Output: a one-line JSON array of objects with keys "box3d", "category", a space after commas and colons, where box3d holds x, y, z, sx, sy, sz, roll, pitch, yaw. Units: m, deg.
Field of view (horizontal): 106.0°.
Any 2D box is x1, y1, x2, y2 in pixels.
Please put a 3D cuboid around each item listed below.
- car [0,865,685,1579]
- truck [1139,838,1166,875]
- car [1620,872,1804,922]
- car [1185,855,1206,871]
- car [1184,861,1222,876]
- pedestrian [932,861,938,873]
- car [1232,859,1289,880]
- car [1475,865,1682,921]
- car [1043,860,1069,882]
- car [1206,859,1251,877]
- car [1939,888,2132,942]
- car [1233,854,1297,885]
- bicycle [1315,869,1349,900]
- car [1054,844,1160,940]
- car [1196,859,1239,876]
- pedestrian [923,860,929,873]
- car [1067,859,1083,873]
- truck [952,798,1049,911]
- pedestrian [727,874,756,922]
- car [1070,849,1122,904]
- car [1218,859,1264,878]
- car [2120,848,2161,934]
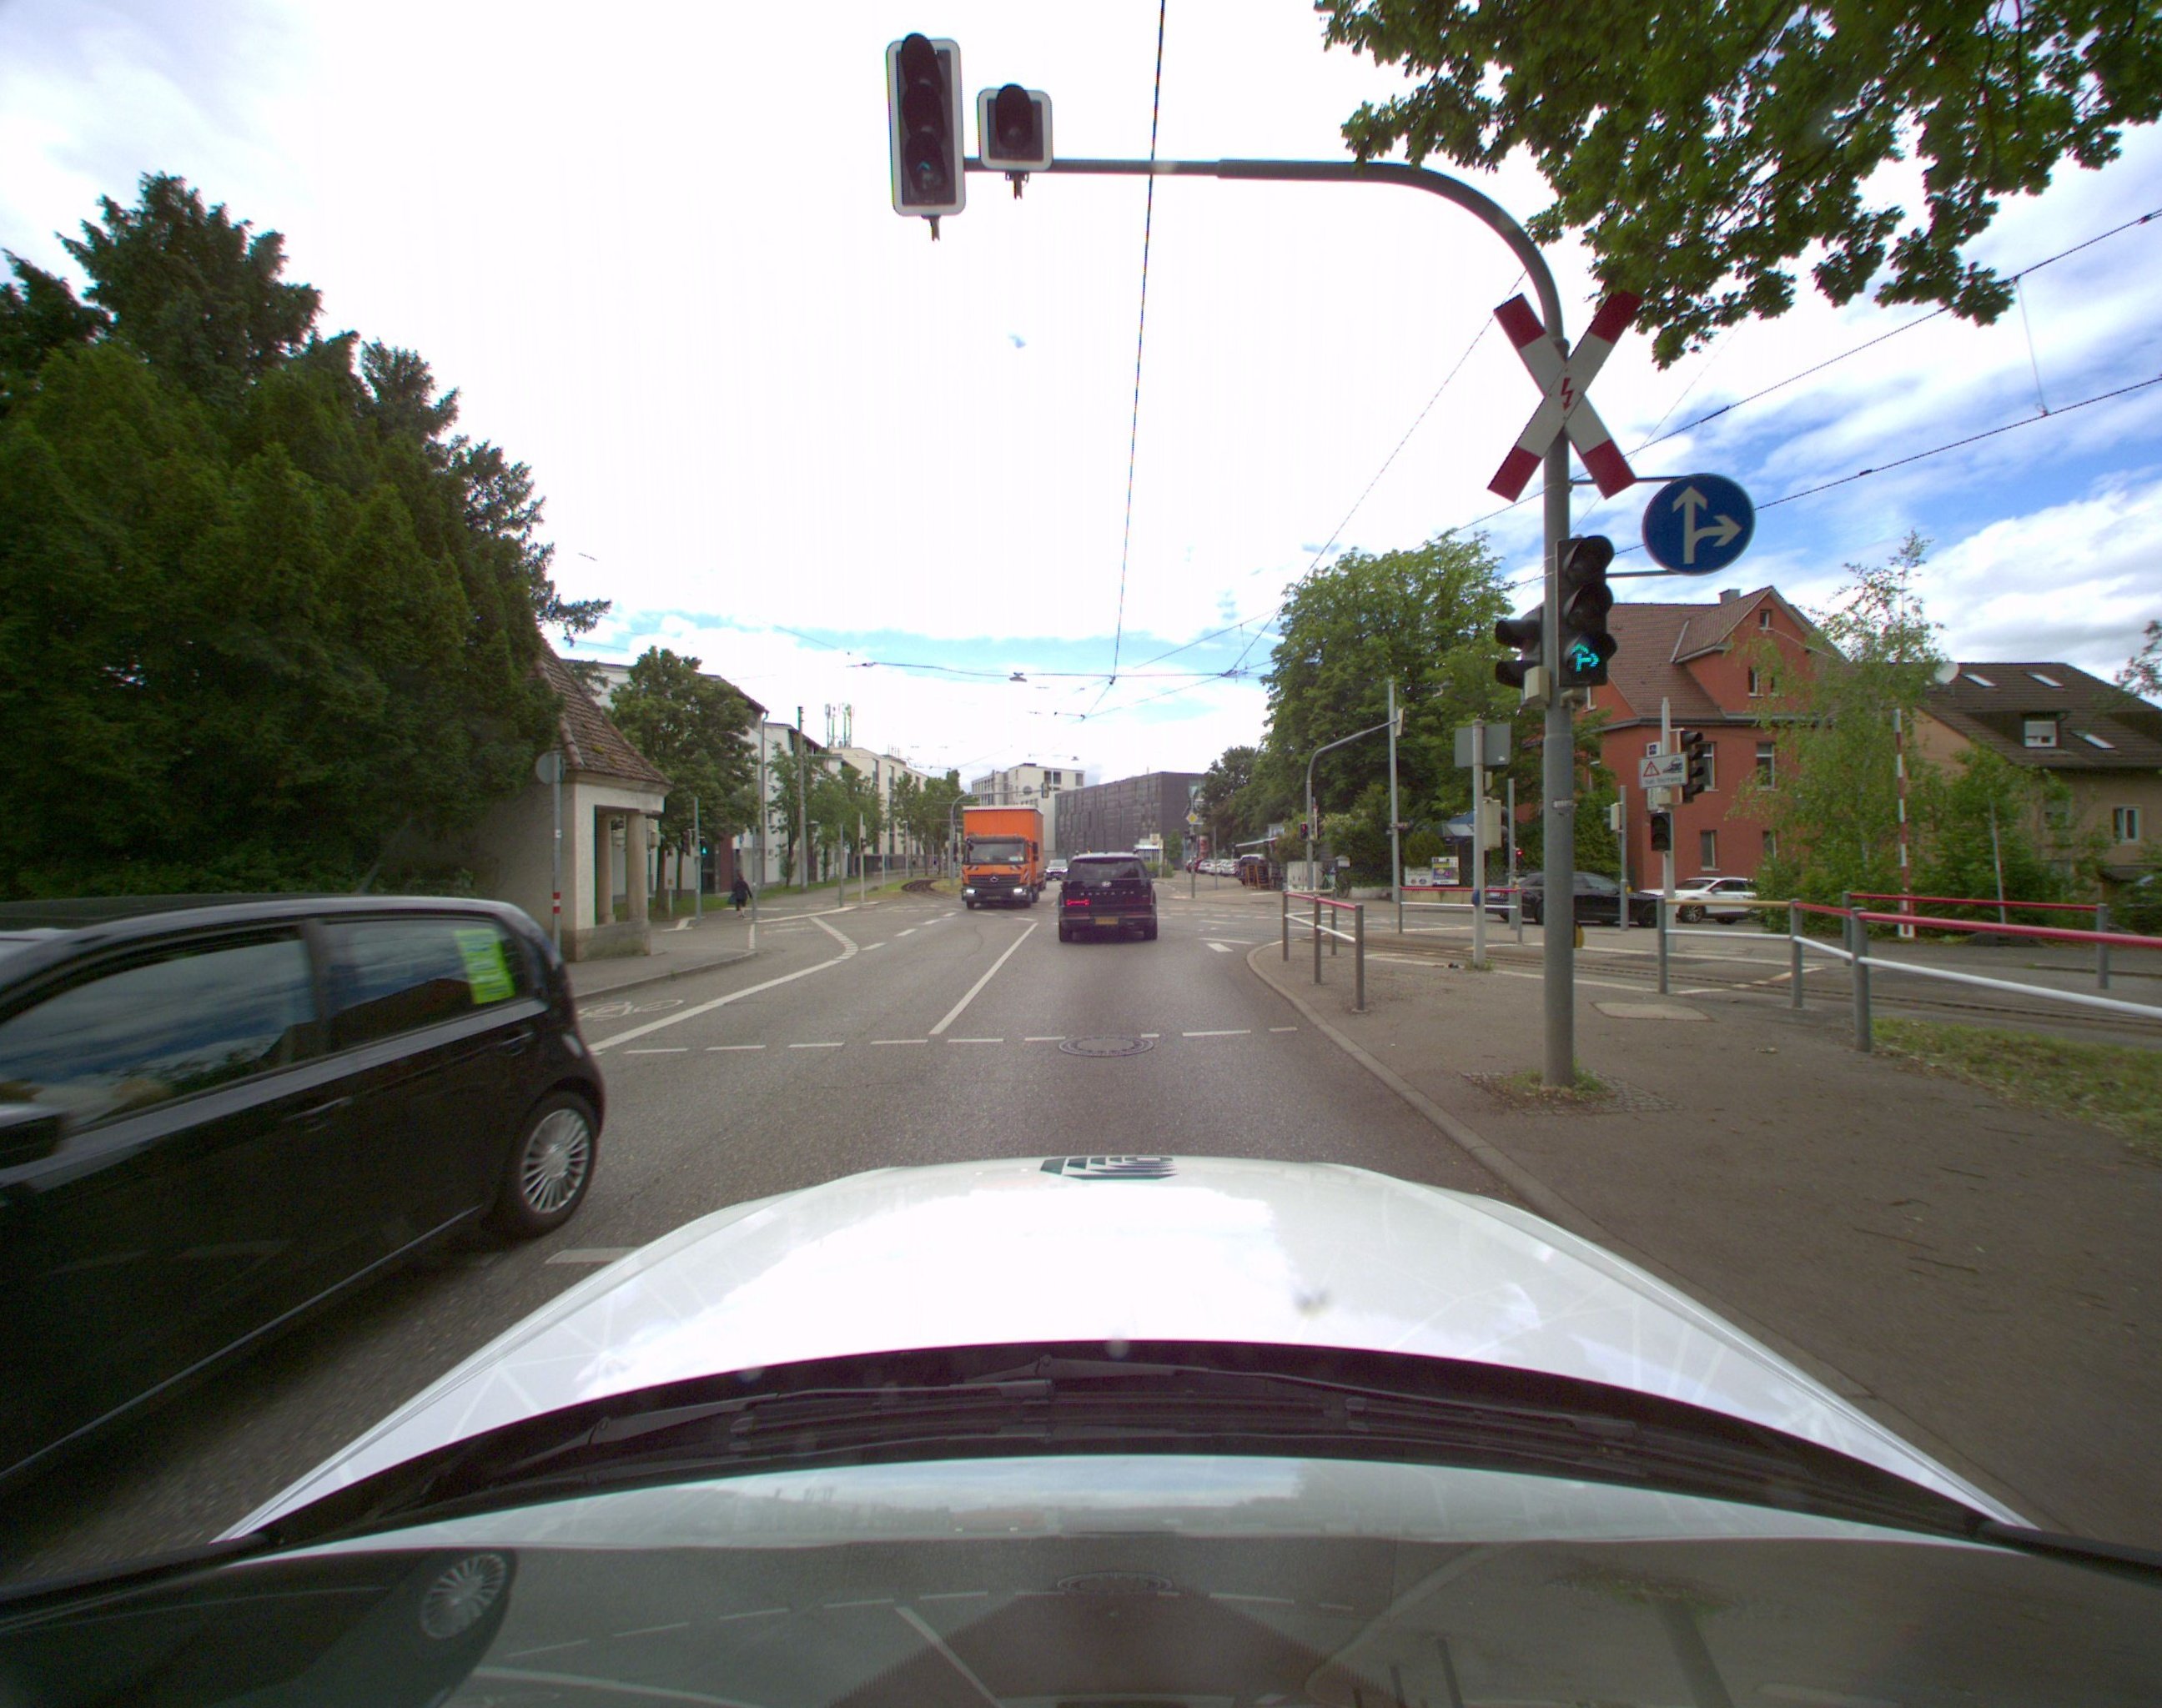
[{"box3d": [-3.015, 0.768, 2.499, 1.658, 1.449, 3.828, -1, -1, 1], "category": "car"}, {"box3d": [7.278, 0.273, 83.983, 2.562, 3.525, 7.817, -1, 0, 3], "category": "truck"}, {"box3d": [19.561, 1.298, 25.348, 4.502, 1.463, 1.994, 0, -1, -9], "category": "car"}, {"box3d": [13.674, 1.096, 97.397, 1.986, 1.838, 4.519, -2, -1, 2], "category": "car"}, {"box3d": [12.384, 1.520, 82.869, 3.510, 1.455, 1.666, 1, -1, -27], "category": "car"}, {"box3d": [-19.550, 1.736, 108.831, 0.611, 1.694, 0.785, 0, -2, 1], "category": "pedestrian"}, {"box3d": [13.510, 1.158, 61.418, 4.012, 1.477, 1.862, 0, -1, -30], "category": "car"}, {"box3d": [13.411, 1.030, 22.142, 4.492, 1.463, 1.998, 0, -1, -2], "category": "car"}, {"box3d": [-2.009, 1.332, 65.632, 1.781, 1.661, 4.278, -1, -1, 2], "category": "car"}, {"box3d": [12.969, 1.209, 71.499, 3.657, 1.435, 1.578, -2, -2, -26], "category": "car"}, {"box3d": [30.618, 1.950, 26.180, 4.502, 1.463, 1.994, 3, -1, -9], "category": "car"}, {"box3d": [11.193, 0.897, 49.253, 1.827, 1.748, 4.725, -1, 0, 39], "category": "car"}, {"box3d": [10.317, 1.232, 33.545, 0.548, 1.138, 1.872, 0, 3, -10], "category": "bicycle"}, {"box3d": [0.466, 0.702, 16.898, 1.909, 1.725, 4.169, 1, 0, -1], "category": "car"}, {"box3d": [13.004, 1.316, 77.549, 3.813, 1.474, 1.782, 2, -2, -29], "category": "car"}, {"box3d": [-20.599, 1.641, 108.237, 0.611, 1.694, 0.785, 0, -2, 1], "category": "pedestrian"}, {"box3d": [-0.740, 1.470, 100.821, 1.733, 1.559, 4.184, -1, -1, 1], "category": "car"}, {"box3d": [-2.856, 0.064, 31.249, 2.760, 3.719, 8.468, -1, -1, 0], "category": "truck"}, {"box3d": [-12.275, 1.571, 29.436, 0.673, 1.644, 0.818, -2, 1, -4], "category": "pedestrian"}, {"box3d": [0.546, 0.843, 32.890, 1.850, 2.033, 4.433, -1, 0, -2], "category": "car"}, {"box3d": [13.073, 1.162, 66.485, 3.527, 1.378, 1.533, -1, 1, -29], "category": "car"}, {"box3d": [20.589, 0.636, 13.482, 4.494, 1.463, 1.997, 0, -1, -4], "category": "car"}]
